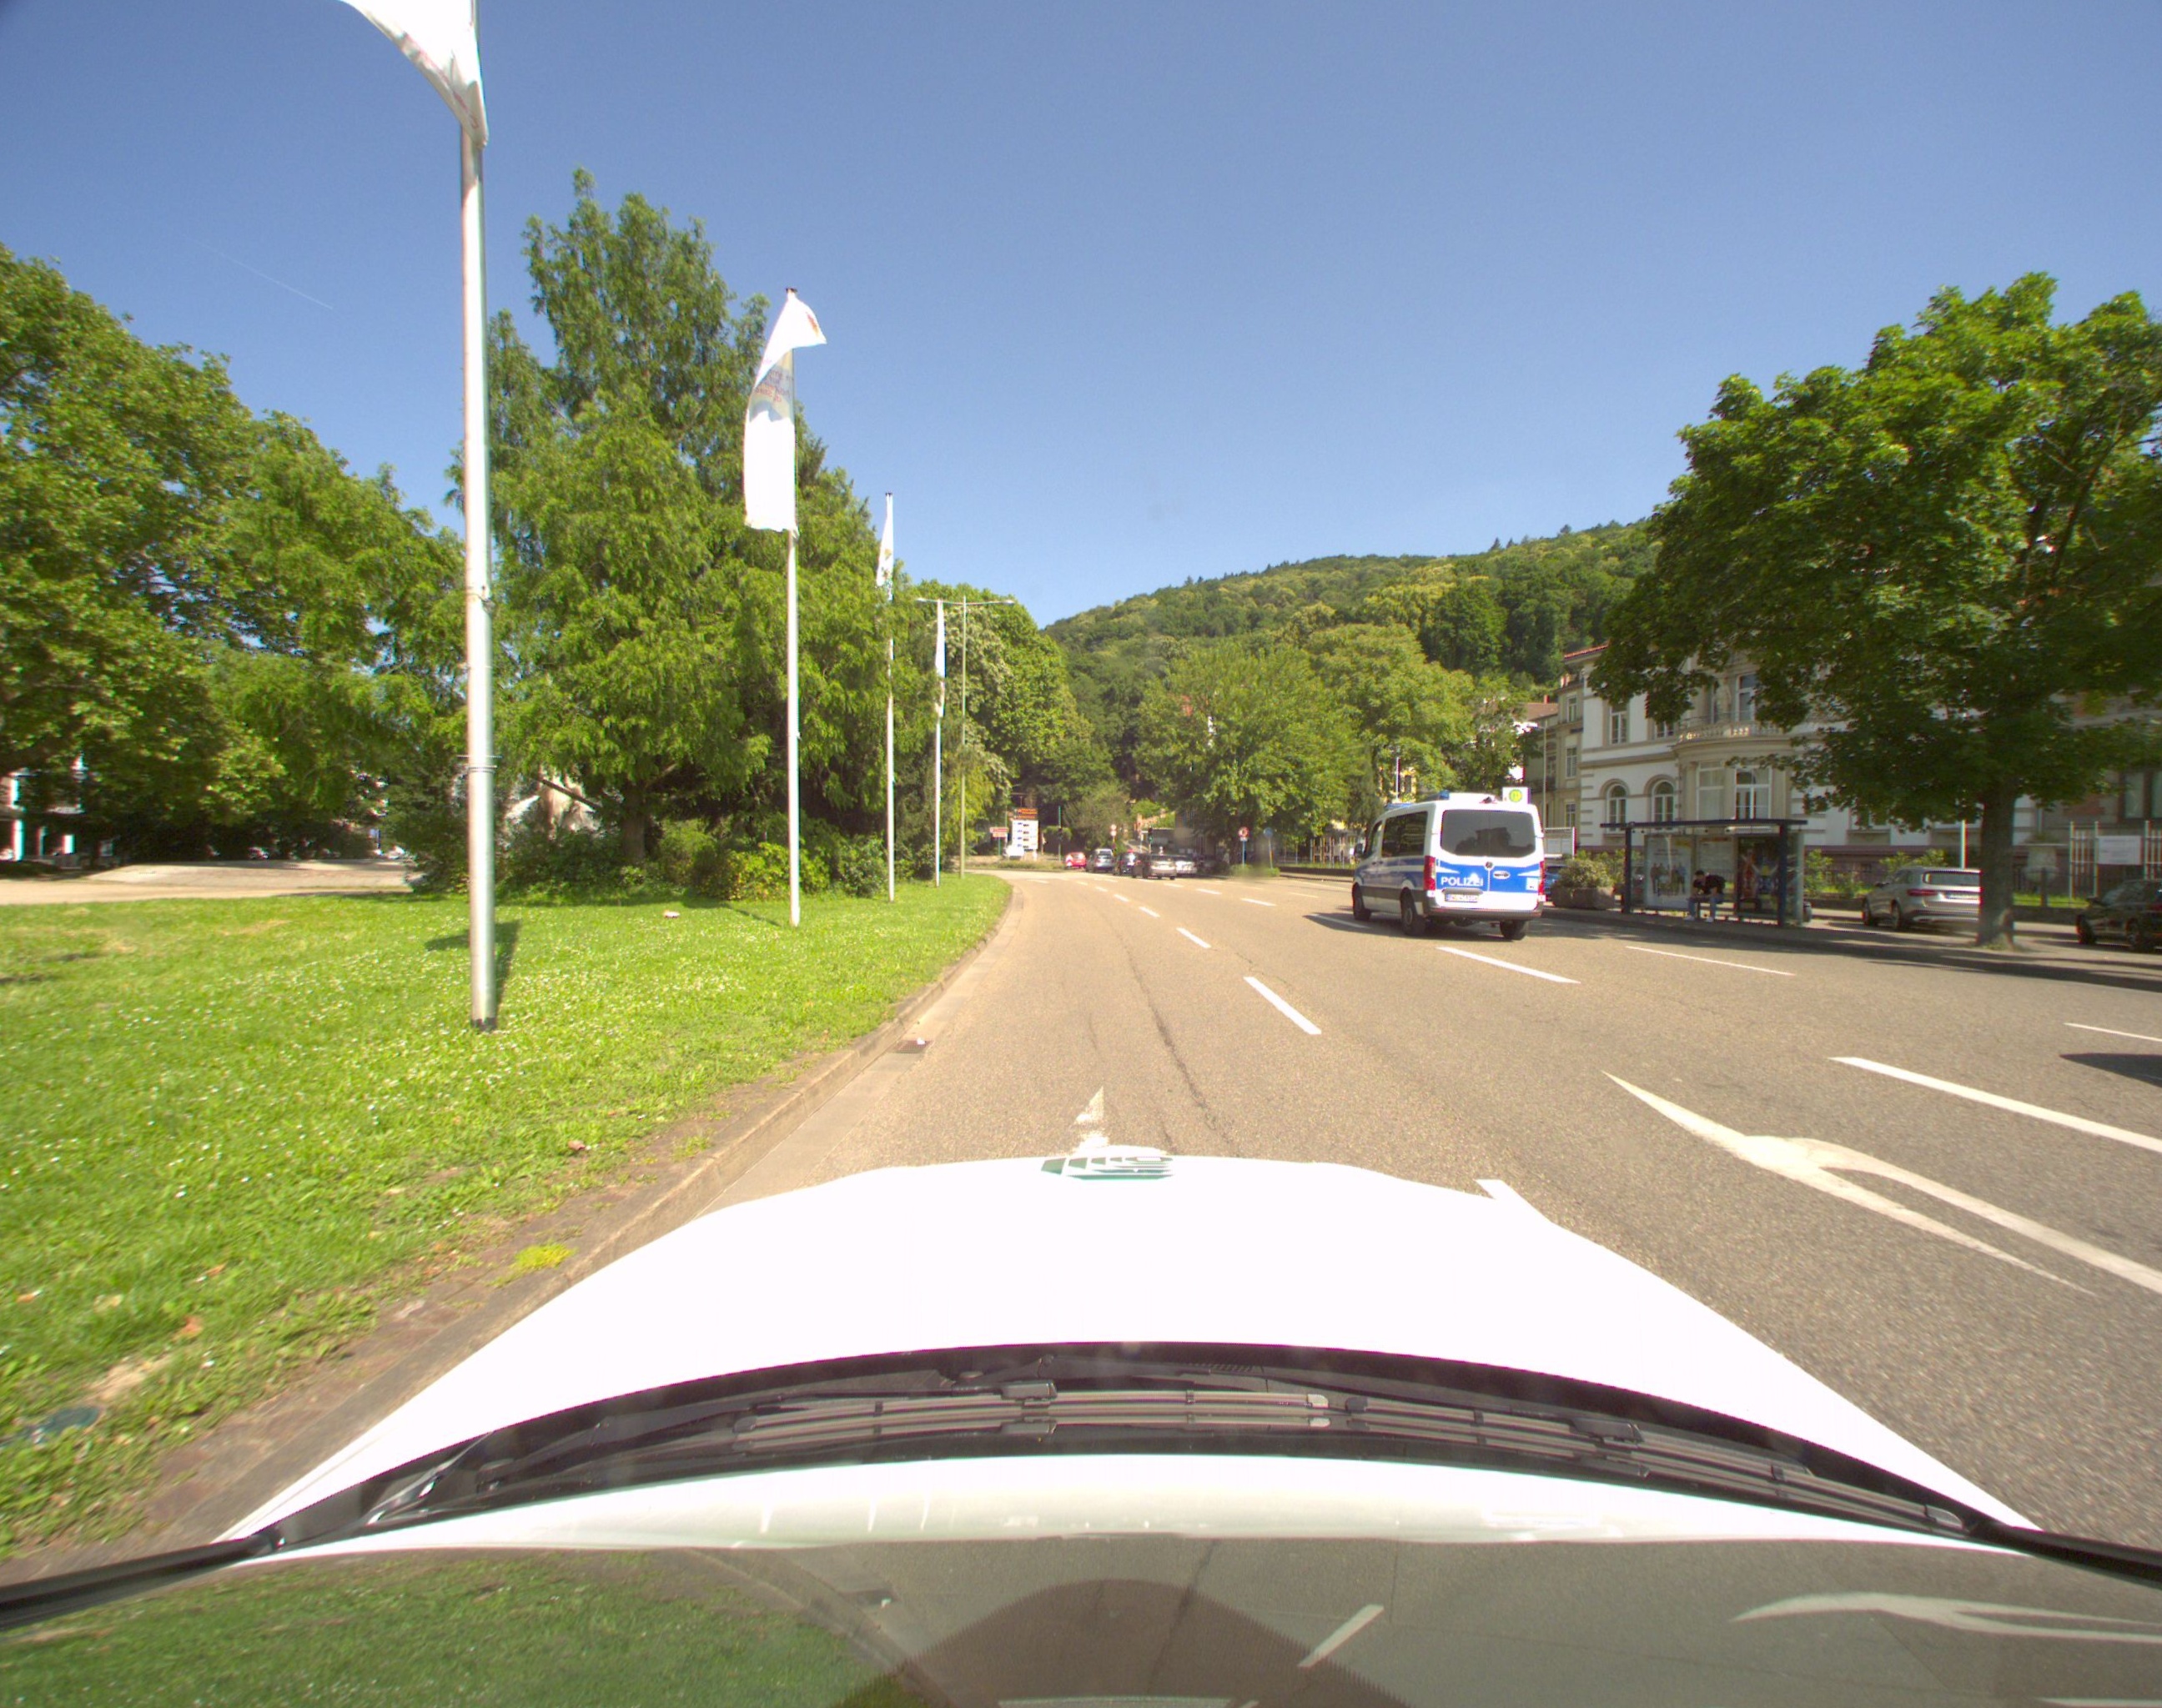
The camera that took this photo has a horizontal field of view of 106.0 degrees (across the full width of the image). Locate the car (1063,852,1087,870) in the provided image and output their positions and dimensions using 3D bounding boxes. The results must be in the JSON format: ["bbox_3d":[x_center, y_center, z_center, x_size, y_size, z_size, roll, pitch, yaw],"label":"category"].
[{"bbox_3d":[-0.550,0.613,72.796,1.754,1.461,3.486,1,0,-7],"label":"car"}]

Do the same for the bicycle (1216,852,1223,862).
[{"bbox_3d":[14.494,0.327,85.037,0.404,1.012,1.338,0,1,-6],"label":"bicycle"}]

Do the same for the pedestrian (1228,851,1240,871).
[{"bbox_3d":[12.691,0.572,67.690,0.770,1.663,0.828,1,0,-5],"label":"pedestrian"}]

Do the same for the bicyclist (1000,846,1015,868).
[{"bbox_3d":[-6.613,0.238,73.295,1.117,1.932,0.752,1,0,18],"label":"bicyclist"}]

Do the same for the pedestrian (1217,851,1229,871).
[{"bbox_3d":[11.903,0.547,68.390,0.770,1.663,0.828,1,0,-6],"label":"pedestrian"}]

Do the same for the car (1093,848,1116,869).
[{"bbox_3d":[2.221,0.380,77.674,1.754,1.938,3.486,1,0,-7],"label":"car"}]

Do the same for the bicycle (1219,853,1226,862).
[{"bbox_3d":[14.398,0.358,83.025,0.404,0.941,1.338,0,1,-6],"label":"bicycle"}]

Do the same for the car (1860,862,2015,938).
[{"bbox_3d":[21.251,1.052,20.415,1.692,1.629,4.343,1,0,33],"label":"car"}]

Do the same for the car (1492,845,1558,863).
[{"bbox_3d":[33.015,0.010,60.583,4.075,1.336,1.816,0,0,-9],"label":"car"}]

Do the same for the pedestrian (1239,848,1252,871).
[{"bbox_3d":[13.536,0.468,66.988,0.770,1.854,0.827,1,0,-8],"label":"pedestrian"}]

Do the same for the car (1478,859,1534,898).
[{"bbox_3d":[18.125,0.987,34.670,1.692,1.511,3.836,1,0,34],"label":"car"}]

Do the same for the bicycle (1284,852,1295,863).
[{"bbox_3d":[20.492,0.340,80.157,0.536,1.085,1.832,0,0,-4],"label":"bicycle"}]

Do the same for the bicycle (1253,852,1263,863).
[{"bbox_3d":[17.368,0.344,79.942,0.536,1.085,1.832,0,0,-4],"label":"bicycle"}]

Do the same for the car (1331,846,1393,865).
[{"bbox_3d":[21.695,0.093,62.880,4.145,1.476,1.870,0,0,-12],"label":"car"}]

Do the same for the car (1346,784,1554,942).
[{"bbox_3d":[6.730,0.142,15.558,2.064,2.508,4.935,1,0,4],"label":"car"}]

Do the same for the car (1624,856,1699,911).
[{"bbox_3d":[19.643,0.933,27.698,1.692,1.696,4.301,1,0,31],"label":"car"}]

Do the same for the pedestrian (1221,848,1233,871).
[{"bbox_3d":[12.018,0.474,67.241,0.770,1.854,0.828,1,0,-6],"label":"pedestrian"}]

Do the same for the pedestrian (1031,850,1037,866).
[{"bbox_3d":[-4.577,0.388,78.871,0.544,1.621,0.635,0,0,3],"label":"pedestrian"}]

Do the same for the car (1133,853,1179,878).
[{"bbox_3d":[4.134,0.608,45.410,1.755,1.334,3.791,1,0,-8],"label":"car"}]

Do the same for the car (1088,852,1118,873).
[{"bbox_3d":[1.594,0.593,60.471,1.754,1.461,3.637,1,0,-7],"label":"car"}]

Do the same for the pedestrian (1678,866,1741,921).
[{"bbox_3d":[14.405,0.889,18.673,1.024,1.197,0.785,1,0,-27],"label":"pedestrian"}]

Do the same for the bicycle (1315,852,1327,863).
[{"bbox_3d":[23.631,0.337,80.155,0.536,1.085,1.832,0,0,-4],"label":"bicycle"}]

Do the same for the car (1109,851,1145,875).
[{"bbox_3d":[2.971,0.579,52.947,1.754,1.461,3.486,1,0,-7],"label":"car"}]

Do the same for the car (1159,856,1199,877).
[{"bbox_3d":[6.235,0.784,51.947,1.754,1.213,3.486,1,0,-7],"label":"car"}]

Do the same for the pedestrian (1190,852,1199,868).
[{"bbox_3d":[10.576,0.526,75.884,0.490,1.458,0.730,0,0,-19],"label":"pedestrian"}]

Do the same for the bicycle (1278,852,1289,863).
[{"bbox_3d":[19.899,0.341,80.080,0.536,1.085,1.832,0,0,-4],"label":"bicycle"}]

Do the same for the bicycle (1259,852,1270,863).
[{"bbox_3d":[18.009,0.343,79.994,0.536,1.085,1.832,0,0,-4],"label":"bicycle"}]

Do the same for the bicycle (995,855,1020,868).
[{"bbox_3d":[-6.600,0.649,73.291,2.060,1.112,0.760,1,0,18],"label":"bicycle"}]

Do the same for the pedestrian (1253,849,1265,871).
[{"bbox_3d":[14.735,0.494,67.375,0.770,1.854,0.827,1,0,-8],"label":"pedestrian"}]

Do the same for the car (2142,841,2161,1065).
[{"bbox_3d":[8.003,0.718,3.493,1.709,1.541,4.282,2,1,9],"label":"car"}]

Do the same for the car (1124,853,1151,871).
[{"bbox_3d":[4.919,0.690,71.786,1.754,1.461,3.486,1,0,-7],"label":"car"}]

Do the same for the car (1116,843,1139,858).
[{"bbox_3d":[5.306,-0.360,93.567,1.929,1.697,3.991,0,0,-7],"label":"car"}]

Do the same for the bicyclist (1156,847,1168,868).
[{"bbox_3d":[7.534,0.334,75.700,1.120,1.932,0.749,1,0,6],"label":"bicyclist"}]

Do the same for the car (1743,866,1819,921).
[{"bbox_3d":[20.529,1.110,23.959,1.186,1.482,2.302,1,0,27],"label":"car"}]

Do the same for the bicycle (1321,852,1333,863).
[{"bbox_3d":[24.225,0.337,80.286,0.536,1.085,1.832,0,0,-4],"label":"bicycle"}]

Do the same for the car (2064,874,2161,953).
[{"bbox_3d":[21.841,1.167,16.518,1.585,1.417,3.845,1,0,37],"label":"car"}]

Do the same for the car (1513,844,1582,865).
[{"bbox_3d":[33.118,0.026,57.866,4.048,1.419,1.816,0,0,-9],"label":"car"}]

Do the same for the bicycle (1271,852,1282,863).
[{"bbox_3d":[19.226,0.342,80.005,0.536,1.085,1.832,0,0,-4],"label":"bicycle"}]

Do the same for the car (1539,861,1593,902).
[{"bbox_3d":[18.817,1.008,31.625,1.692,1.442,3.835,1,0,31],"label":"car"}]

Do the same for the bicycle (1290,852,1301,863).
[{"bbox_3d":[21.135,0.340,80.237,0.536,1.085,1.832,0,0,-4],"label":"bicycle"}]
